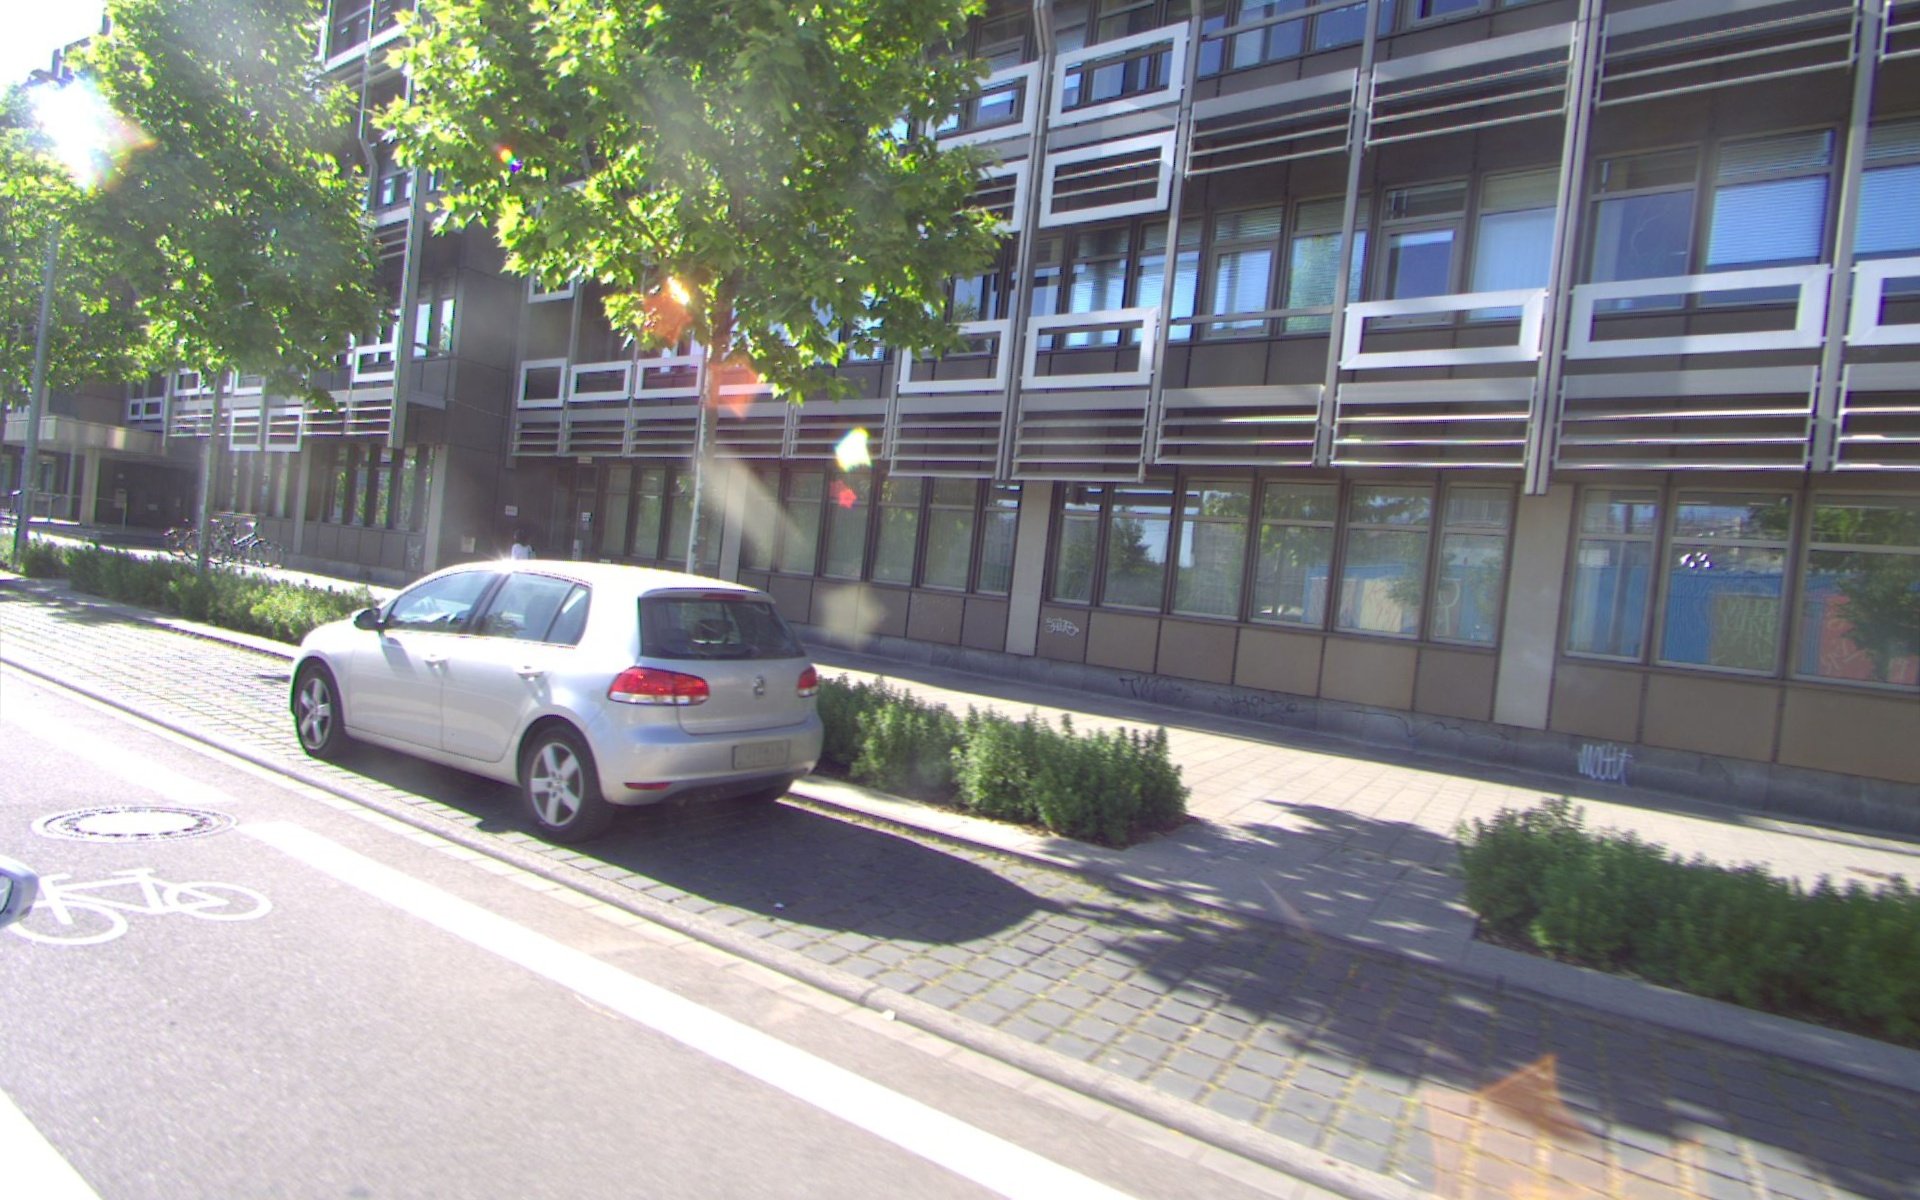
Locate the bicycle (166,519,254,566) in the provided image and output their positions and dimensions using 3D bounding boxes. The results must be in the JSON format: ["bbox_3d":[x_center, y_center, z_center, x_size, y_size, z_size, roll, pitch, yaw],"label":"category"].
[{"bbox_3d":[-20.524,-1.568,27.566,0.420,1.112,1.855,7,2,37],"label":"bicycle"}]

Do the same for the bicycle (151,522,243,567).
[{"bbox_3d":[-19.978,-1.440,26.385,0.420,1.024,1.855,7,2,37],"label":"bicycle"}]

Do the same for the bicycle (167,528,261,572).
[{"bbox_3d":[-18.890,-1.252,25.504,0.420,0.951,1.855,7,2,37],"label":"bicycle"}]

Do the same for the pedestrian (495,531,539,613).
[{"bbox_3d":[-9.333,-0.590,21.188,0.663,1.645,0.510,7,4,35],"label":"pedestrian"}]

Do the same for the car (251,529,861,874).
[{"bbox_3d":[-2.836,0.464,6.753,4.086,1.484,1.619,6,2,31],"label":"car"}]
